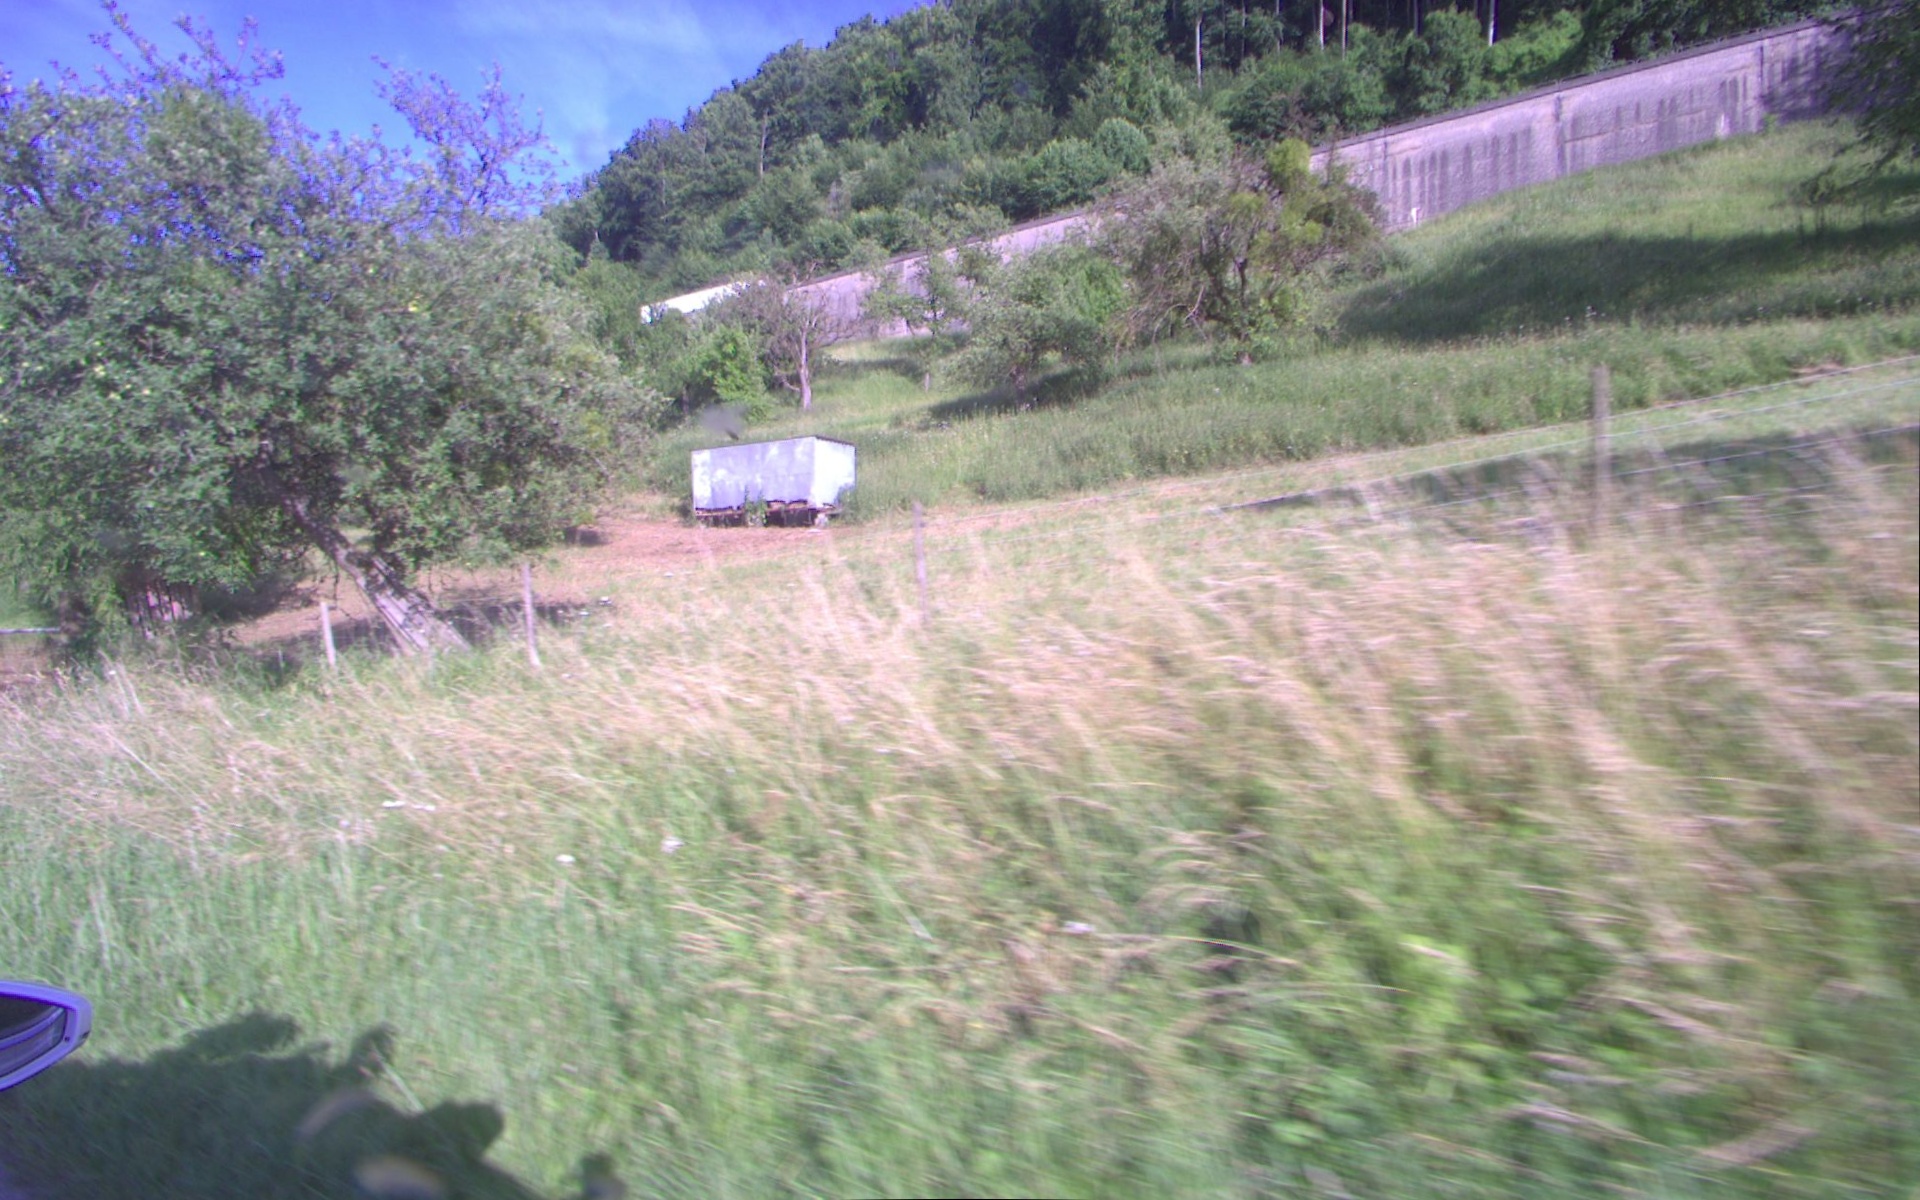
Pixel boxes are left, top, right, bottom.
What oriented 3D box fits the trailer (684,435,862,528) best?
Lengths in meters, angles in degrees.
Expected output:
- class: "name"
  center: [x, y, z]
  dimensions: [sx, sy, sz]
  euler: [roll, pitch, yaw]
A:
- class: "trailer"
  center: [-5.757, -3.549, 30.707]
  dimensions: [5.163, 2.595, 2.149]
  euler: [2, 4, 28]
